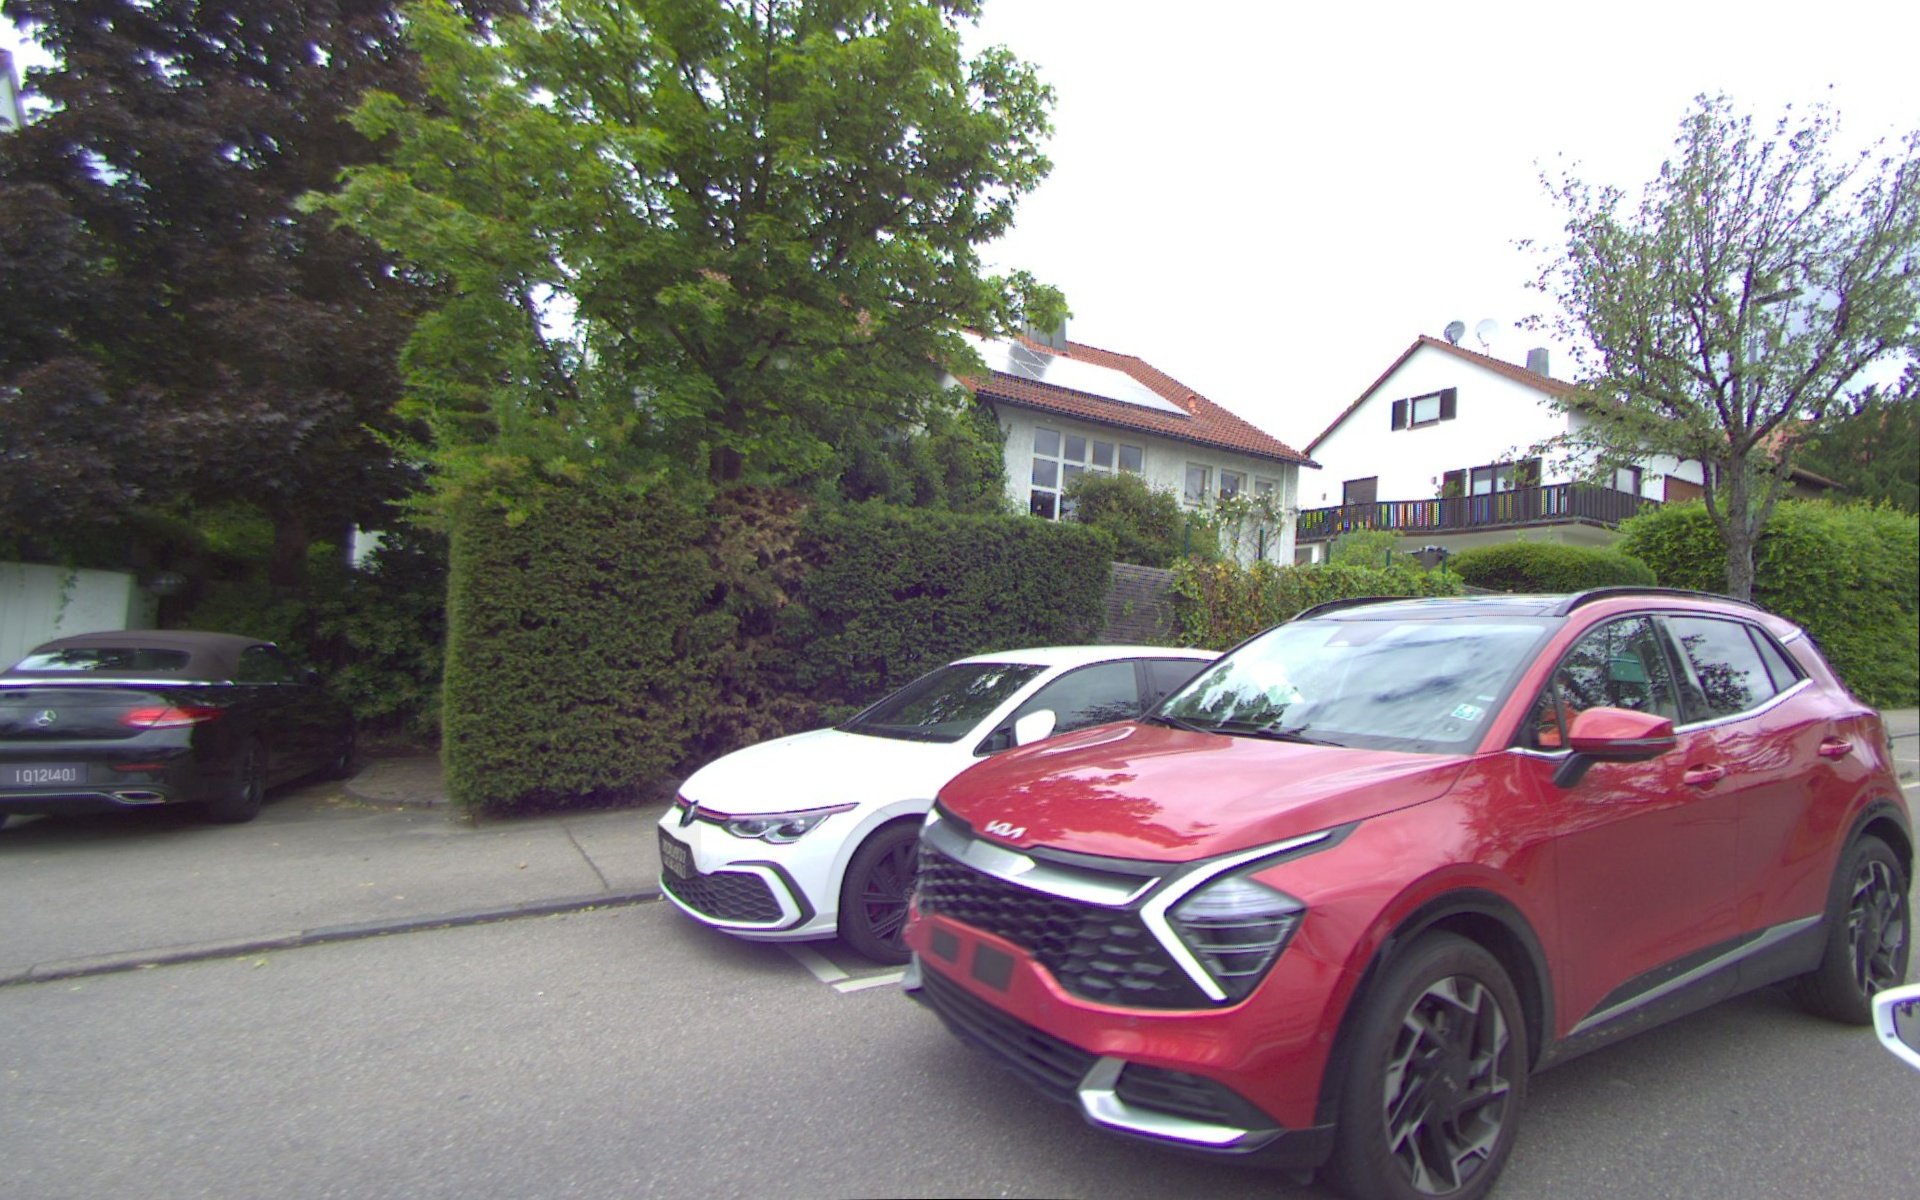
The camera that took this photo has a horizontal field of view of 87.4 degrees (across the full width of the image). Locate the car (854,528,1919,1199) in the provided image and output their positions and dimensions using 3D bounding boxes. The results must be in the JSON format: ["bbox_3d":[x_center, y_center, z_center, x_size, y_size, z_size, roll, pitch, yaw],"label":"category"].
[{"bbox_3d":[1.891,0.785,3.968,4.208,1.668,1.932,2,-4,-31],"label":"car"}]

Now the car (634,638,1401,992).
[{"bbox_3d":[0.474,0.971,6.051,4.358,1.441,1.828,2,-3,-31],"label":"car"}]

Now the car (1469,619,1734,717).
[{"bbox_3d":[12.148,1.208,19.311,1.764,1.554,3.974,1,1,-26],"label":"car"}]

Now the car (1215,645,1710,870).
[{"bbox_3d":[4.189,1.114,8.255,4.031,1.442,1.719,2,-3,-30],"label":"car"}]

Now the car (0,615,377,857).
[{"bbox_3d":[-6.226,0.867,8.093,1.750,1.464,3.985,1,-1,-17],"label":"car"}]
